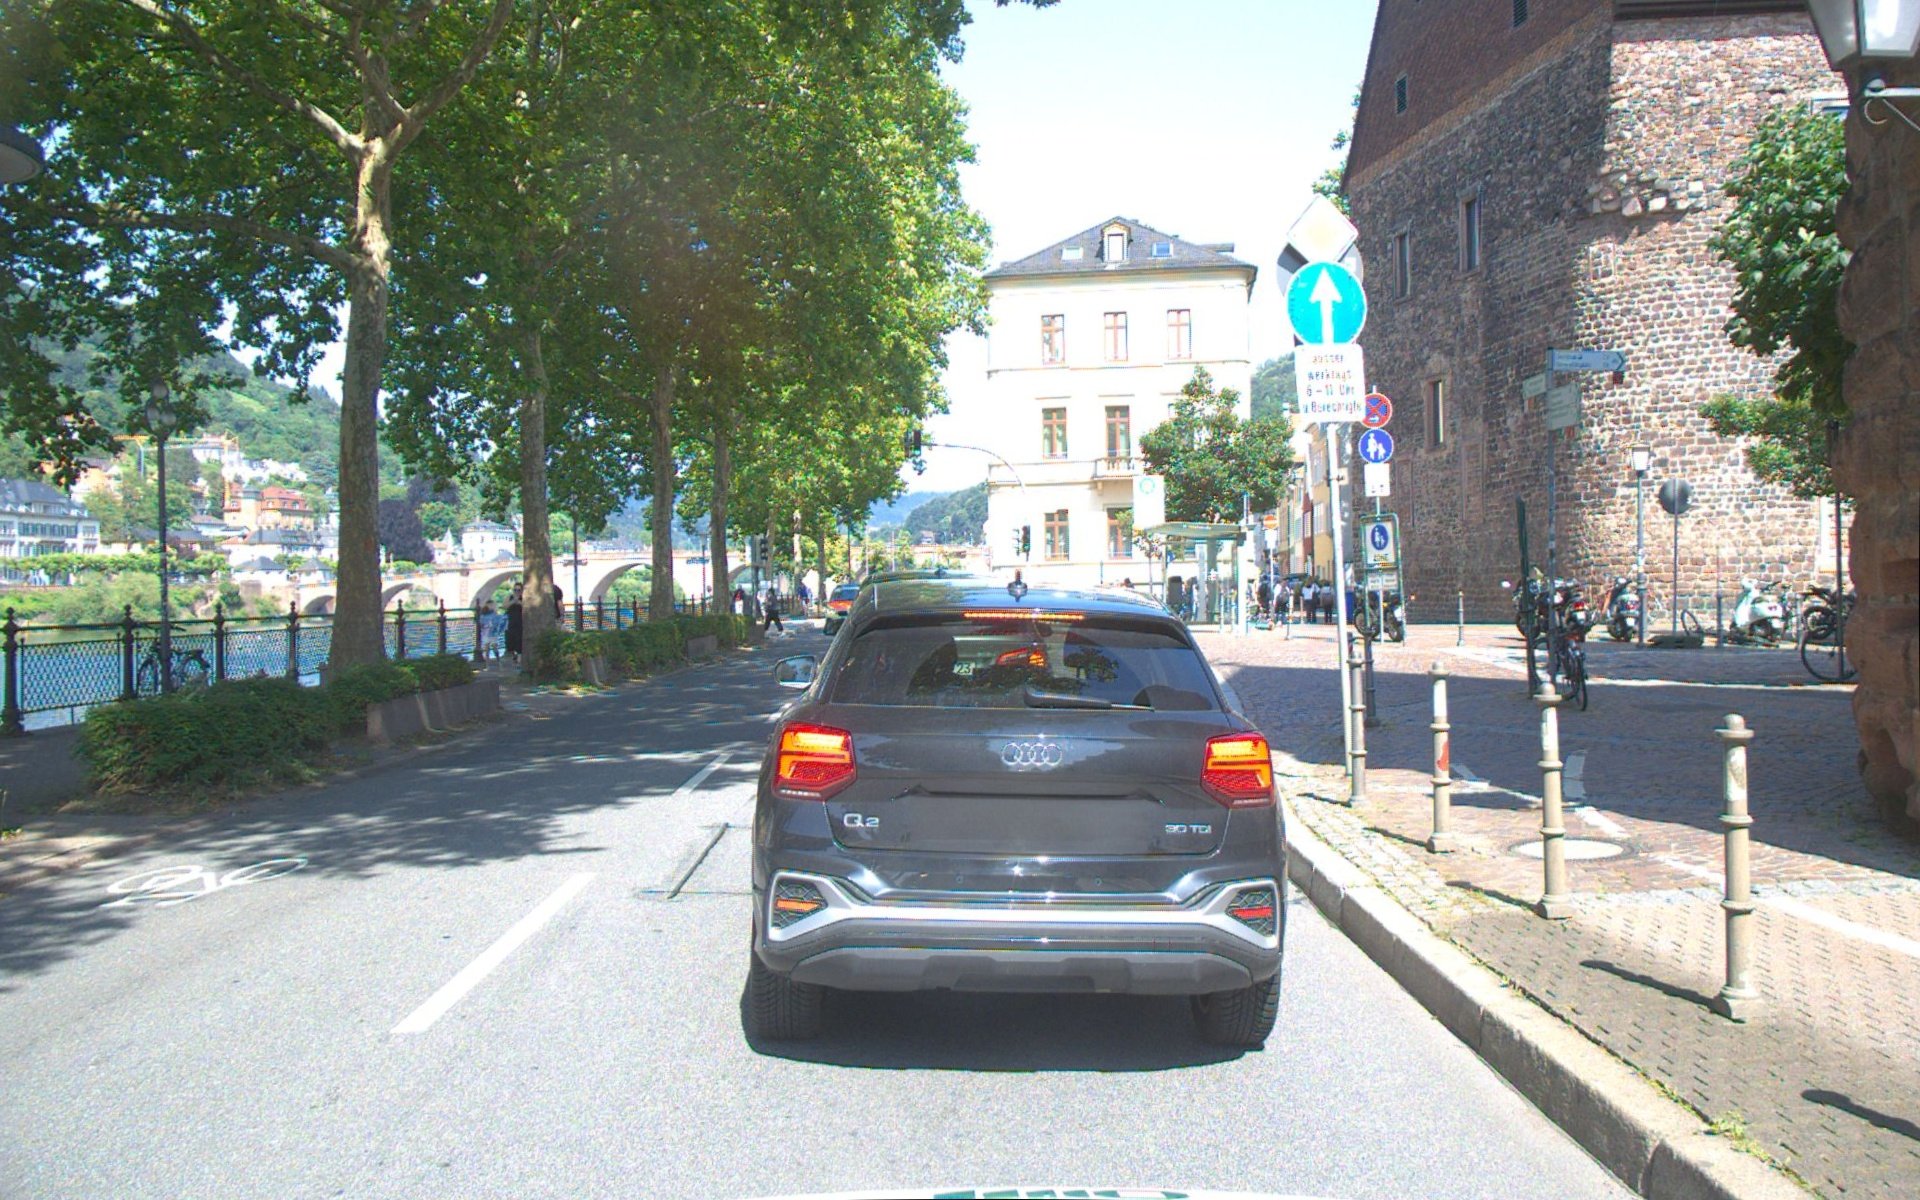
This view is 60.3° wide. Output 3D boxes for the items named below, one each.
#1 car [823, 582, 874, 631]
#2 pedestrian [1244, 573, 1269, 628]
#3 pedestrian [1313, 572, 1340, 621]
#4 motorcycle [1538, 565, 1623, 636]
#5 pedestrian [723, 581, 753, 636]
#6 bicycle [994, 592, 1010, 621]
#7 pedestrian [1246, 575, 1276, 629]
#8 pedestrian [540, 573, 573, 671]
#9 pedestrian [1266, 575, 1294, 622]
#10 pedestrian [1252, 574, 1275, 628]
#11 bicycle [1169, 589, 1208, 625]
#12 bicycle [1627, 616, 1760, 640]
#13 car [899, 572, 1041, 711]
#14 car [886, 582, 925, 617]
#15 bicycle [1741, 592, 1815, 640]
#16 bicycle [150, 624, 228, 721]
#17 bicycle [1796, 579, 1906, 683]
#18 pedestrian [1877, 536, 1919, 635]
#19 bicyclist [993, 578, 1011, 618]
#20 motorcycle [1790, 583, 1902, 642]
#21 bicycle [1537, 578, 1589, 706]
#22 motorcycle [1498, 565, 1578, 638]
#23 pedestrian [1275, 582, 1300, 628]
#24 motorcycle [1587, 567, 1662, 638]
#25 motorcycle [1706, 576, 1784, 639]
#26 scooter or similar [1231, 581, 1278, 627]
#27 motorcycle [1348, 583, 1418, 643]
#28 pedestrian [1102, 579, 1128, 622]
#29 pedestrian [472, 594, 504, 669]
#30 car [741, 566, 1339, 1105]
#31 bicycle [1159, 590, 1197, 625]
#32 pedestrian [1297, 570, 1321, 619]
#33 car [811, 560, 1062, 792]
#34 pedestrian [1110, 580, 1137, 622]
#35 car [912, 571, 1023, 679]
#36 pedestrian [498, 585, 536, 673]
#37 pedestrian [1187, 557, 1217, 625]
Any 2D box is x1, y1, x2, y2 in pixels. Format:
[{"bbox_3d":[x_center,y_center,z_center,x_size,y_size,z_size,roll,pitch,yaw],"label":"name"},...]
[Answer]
[{"bbox_3d":[-4.208,0.215,62.707,1.639,1.689,4.222,-3,0,-1],"label":"car"},{"bbox_3d":[7.640,0.011,42.612,0.546,1.409,0.588,1,-1,1],"label":"pedestrian"},{"bbox_3d":[12.646,-0.130,57.062,0.677,1.640,0.891,-2,0,-1],"label":"pedestrian"},{"bbox_3d":[11.443,0.013,30.564,0.661,1.257,2.312,1,0,-1],"label":"motorcycle"},{"bbox_3d":[-7.503,0.298,55.879,0.891,1.843,0.586,1,-2,3],"label":"pedestrian"},{"bbox_3d":[1.585,0.247,62.456,0.428,1.105,1.675,1,0,-5],"label":"bicycle"},{"bbox_3d":[11.606,0.076,63.823,0.922,2.049,0.806,1,-1,-7],"label":"pedestrian"},{"bbox_3d":[-8.021,0.431,32.881,0.523,1.920,0.436,0,0,-1],"label":"pedestrian"},{"bbox_3d":[10.244,-0.038,52.905,0.626,1.469,0.797,-2,0,-7],"label":"pedestrian"},{"bbox_3d":[13.643,0.033,74.347,0.861,2.399,0.745,1,-1,-1],"label":"pedestrian"},{"bbox_3d":[6.775,0.222,49.081,1.184,1.053,0.178,1,-1,-20],"label":"bicycle"},{"bbox_3d":[12.269,0.470,27.723,1.887,0.388,0.918,0,-1,14],"label":"bicycle"},{"bbox_3d":[0.090,0.470,21.259,1.676,1.637,3.654,0,0,-1],"label":"car"},{"bbox_3d":[-2.960,-0.013,90.447,1.952,1.838,4.000,1,0,1],"label":"car"},{"bbox_3d":[15.129,0.287,30.634,0.346,0.835,1.926,1,1,-2],"label":"bicycle"},{"bbox_3d":[-9.532,0.877,20.476,0.352,1.110,1.295,2,0,-2],"label":"bicycle"},{"bbox_3d":[10.624,0.340,19.769,0.437,1.182,1.731,-1,1,3],"label":"bicycle"},{"bbox_3d":[19.909,-0.296,34.823,0.856,2.049,0.733,1,-1,13],"label":"pedestrian"},{"bbox_3d":[1.569,-0.071,62.492,0.593,1.475,0.590,1,-1,-6],"label":"bicyclist"},{"bbox_3d":[16.762,0.235,31.311,1.826,1.072,0.480,1,-1,7],"label":"motorcycle"},{"bbox_3d":[6.139,0.396,16.875,0.189,1.225,1.771,0,1,10],"label":"bicycle"},{"bbox_3d":[10.542,0.031,30.240,0.642,1.288,2.199,0,0,-1],"label":"motorcycle"},{"bbox_3d":[14.746,0.209,74.474,0.925,2.049,0.807,1,-1,-1],"label":"pedestrian"},{"bbox_3d":[12.262,0.047,30.588,0.535,1.257,2.030,1,0,-1],"label":"motorcycle"},{"bbox_3d":[14.028,0.133,29.590,0.496,1.092,1.839,1,0,-1],"label":"motorcycle"},{"bbox_3d":[7.034,0.096,39.512,1.067,1.084,0.323,1,-1,-3],"label":"scooter or similar"},{"bbox_3d":[7.696,0.214,30.204,0.555,1.030,2.489,-1,1,-2],"label":"motorcycle"},{"bbox_3d":[4.581,0.005,48.954,0.651,1.253,0.640,1,-1,-7],"label":"pedestrian"},{"bbox_3d":[-8.873,0.588,31.097,0.469,1.386,0.417,0,0,3],"label":"pedestrian"},{"bbox_3d":[0.209,0.665,6.613,1.707,1.535,3.646,1,1,-1],"label":"car"},{"bbox_3d":[6.561,0.215,49.719,1.166,1.033,0.178,1,-1,-20],"label":"bicycle"},{"bbox_3d":[12.037,-0.190,57.094,0.595,1.647,0.710,-3,0,-1],"label":"pedestrian"},{"bbox_3d":[-0.193,0.530,13.457,1.756,1.623,3.398,1,0,-1],"label":"car"},{"bbox_3d":[4.771,0.030,48.221,0.651,1.233,0.640,1,-1,-7],"label":"pedestrian"},{"bbox_3d":[0.097,0.384,28.512,1.758,1.711,3.999,1,0,-1],"label":"car"},{"bbox_3d":[-8.785,0.560,32.820,0.589,1.715,0.583,-1,0,-2],"label":"pedestrian"},{"bbox_3d":[6.201,-0.229,42.358,0.640,1.691,0.810,-1,0,1],"label":"pedestrian"}]
